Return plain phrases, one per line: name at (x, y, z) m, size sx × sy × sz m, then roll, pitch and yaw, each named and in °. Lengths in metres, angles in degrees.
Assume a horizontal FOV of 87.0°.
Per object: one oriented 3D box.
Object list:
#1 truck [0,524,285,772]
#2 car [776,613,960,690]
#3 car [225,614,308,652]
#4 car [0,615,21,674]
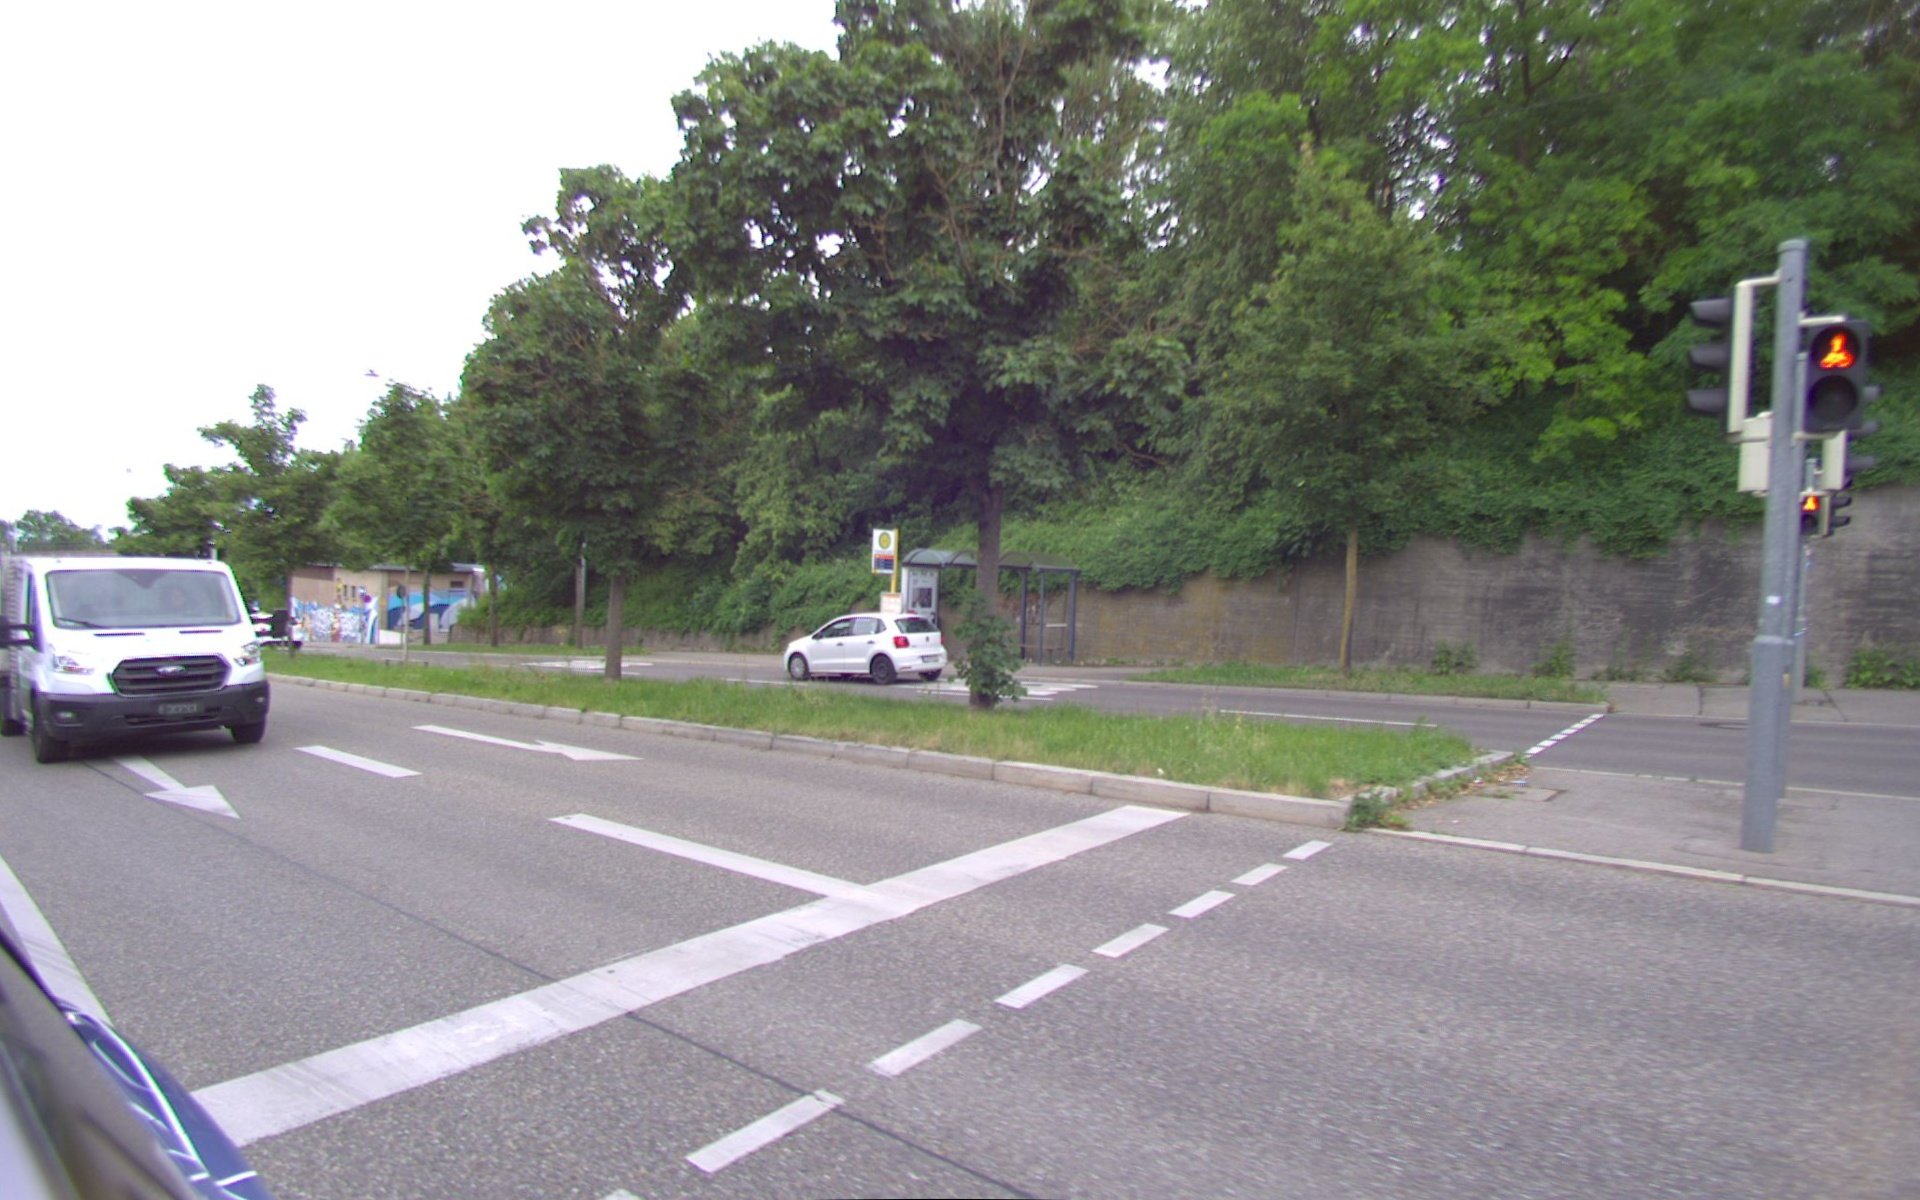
truck at (-10.476, 0.478, 12.393) m, size 6.328 × 2.338 × 2.054 m, roll 0°, pitch -1°, yaw 41°
car at (-2.004, 1.020, 21.562) m, size 3.786 × 1.439 × 1.712 m, roll 0°, pitch 1°, yaw 39°
car at (-30.100, 1.421, 43.870) m, size 4.454 × 1.572 × 1.762 m, roll -2°, pitch -1°, yaw 39°
car at (-26.626, 1.210, 26.972) m, size 4.398 × 1.492 × 1.891 m, roll -2°, pitch 0°, yaw 41°
